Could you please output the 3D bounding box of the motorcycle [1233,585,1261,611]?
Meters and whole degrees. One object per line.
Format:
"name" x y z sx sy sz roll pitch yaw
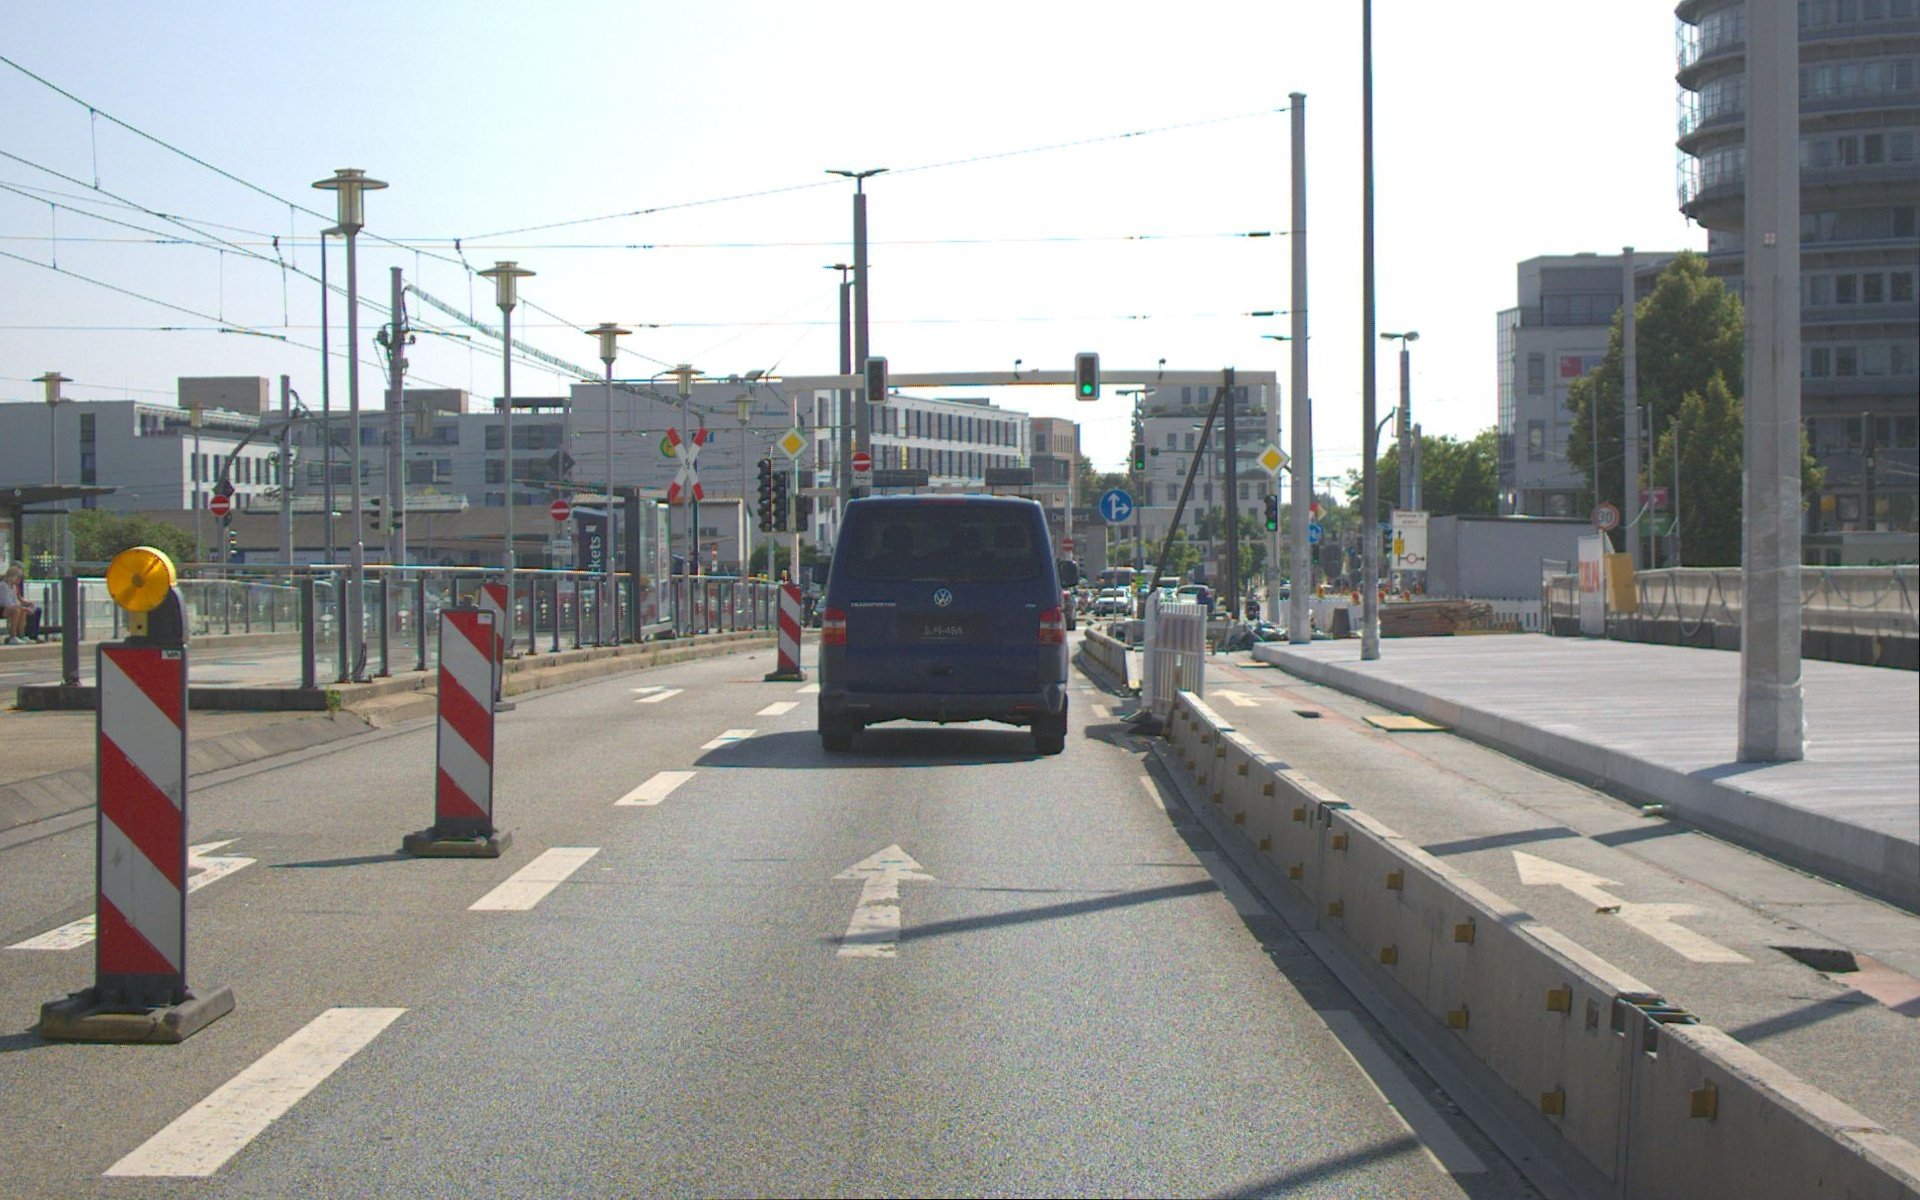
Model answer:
"motorcycle" 14.881 -0.094 178.339 1.162 1.238 3.006 2 2 10

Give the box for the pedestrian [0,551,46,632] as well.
"pedestrian" -14.829 -0.143 54.115 0.648 1.269 0.697 0 1 4

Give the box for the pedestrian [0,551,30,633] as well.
"pedestrian" -14.873 -0.131 53.530 0.648 1.269 0.453 0 1 4

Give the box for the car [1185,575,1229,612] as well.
"car" 10.148 -0.280 141.437 1.744 1.470 3.884 0 0 4

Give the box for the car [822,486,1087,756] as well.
"car" -0.052 0.105 27.074 1.888 1.927 4.000 1 1 0

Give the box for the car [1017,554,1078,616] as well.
"car" 2.561 -0.447 100.337 1.645 1.722 3.717 2 1 3

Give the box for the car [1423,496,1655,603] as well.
"car" 16.295 -1.431 96.848 5.949 2.877 2.347 1 2 -13
